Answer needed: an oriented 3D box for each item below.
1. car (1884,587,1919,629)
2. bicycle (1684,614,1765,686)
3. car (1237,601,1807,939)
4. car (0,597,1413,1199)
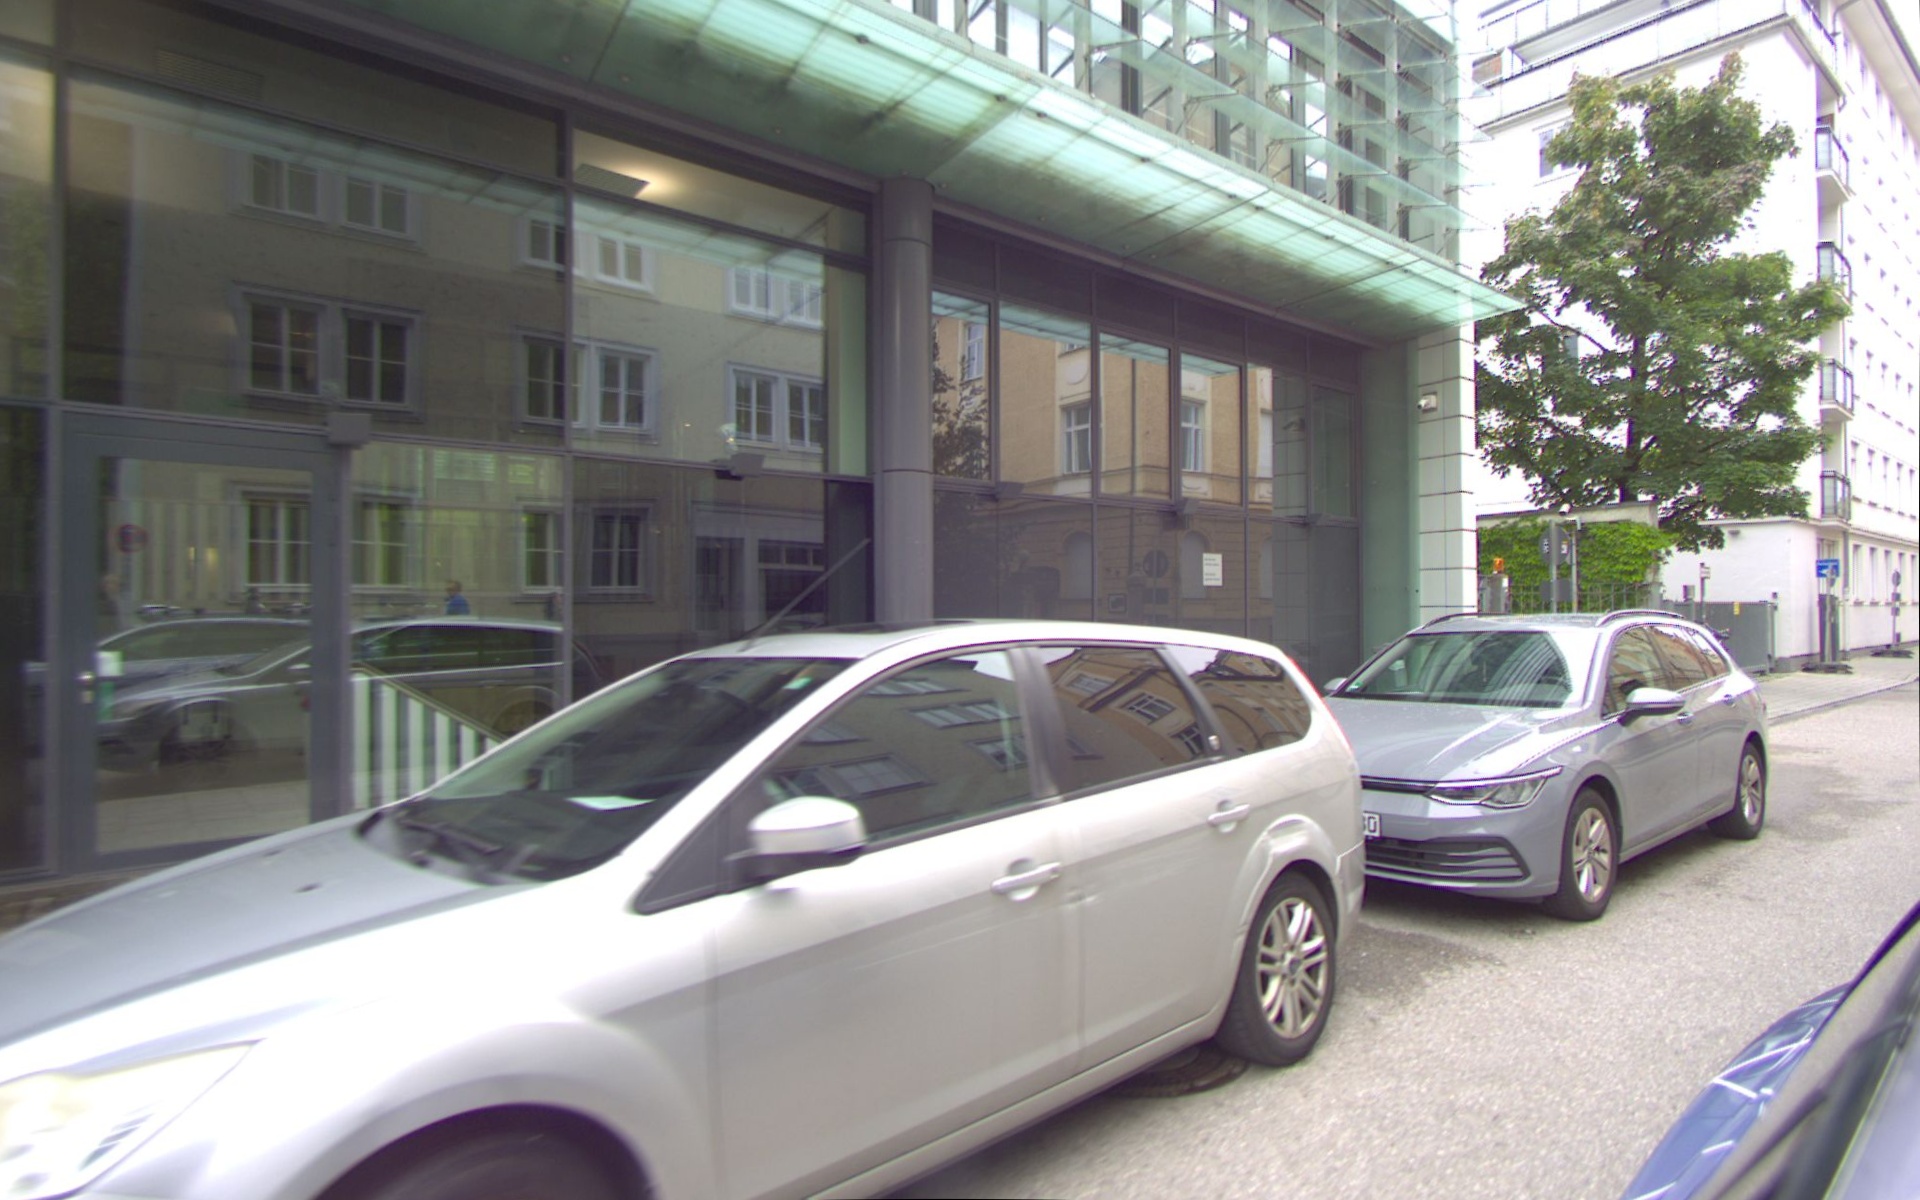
[{"bbox_3d":[45.661,0.385,46.262,1.895,1.915,4.687,1,0,-30],"label":"car"},{"bbox_3d":[13.571,0.888,17.955,1.799,1.214,0.709,4,-3,-38],"label":"bicycle"},{"bbox_3d":[3.746,0.744,6.403,4.252,1.451,1.711,0,-1,-40],"label":"car"},{"bbox_3d":[-0.428,0.769,3.045,4.165,1.486,1.709,0,-2,-42],"label":"car"}]
